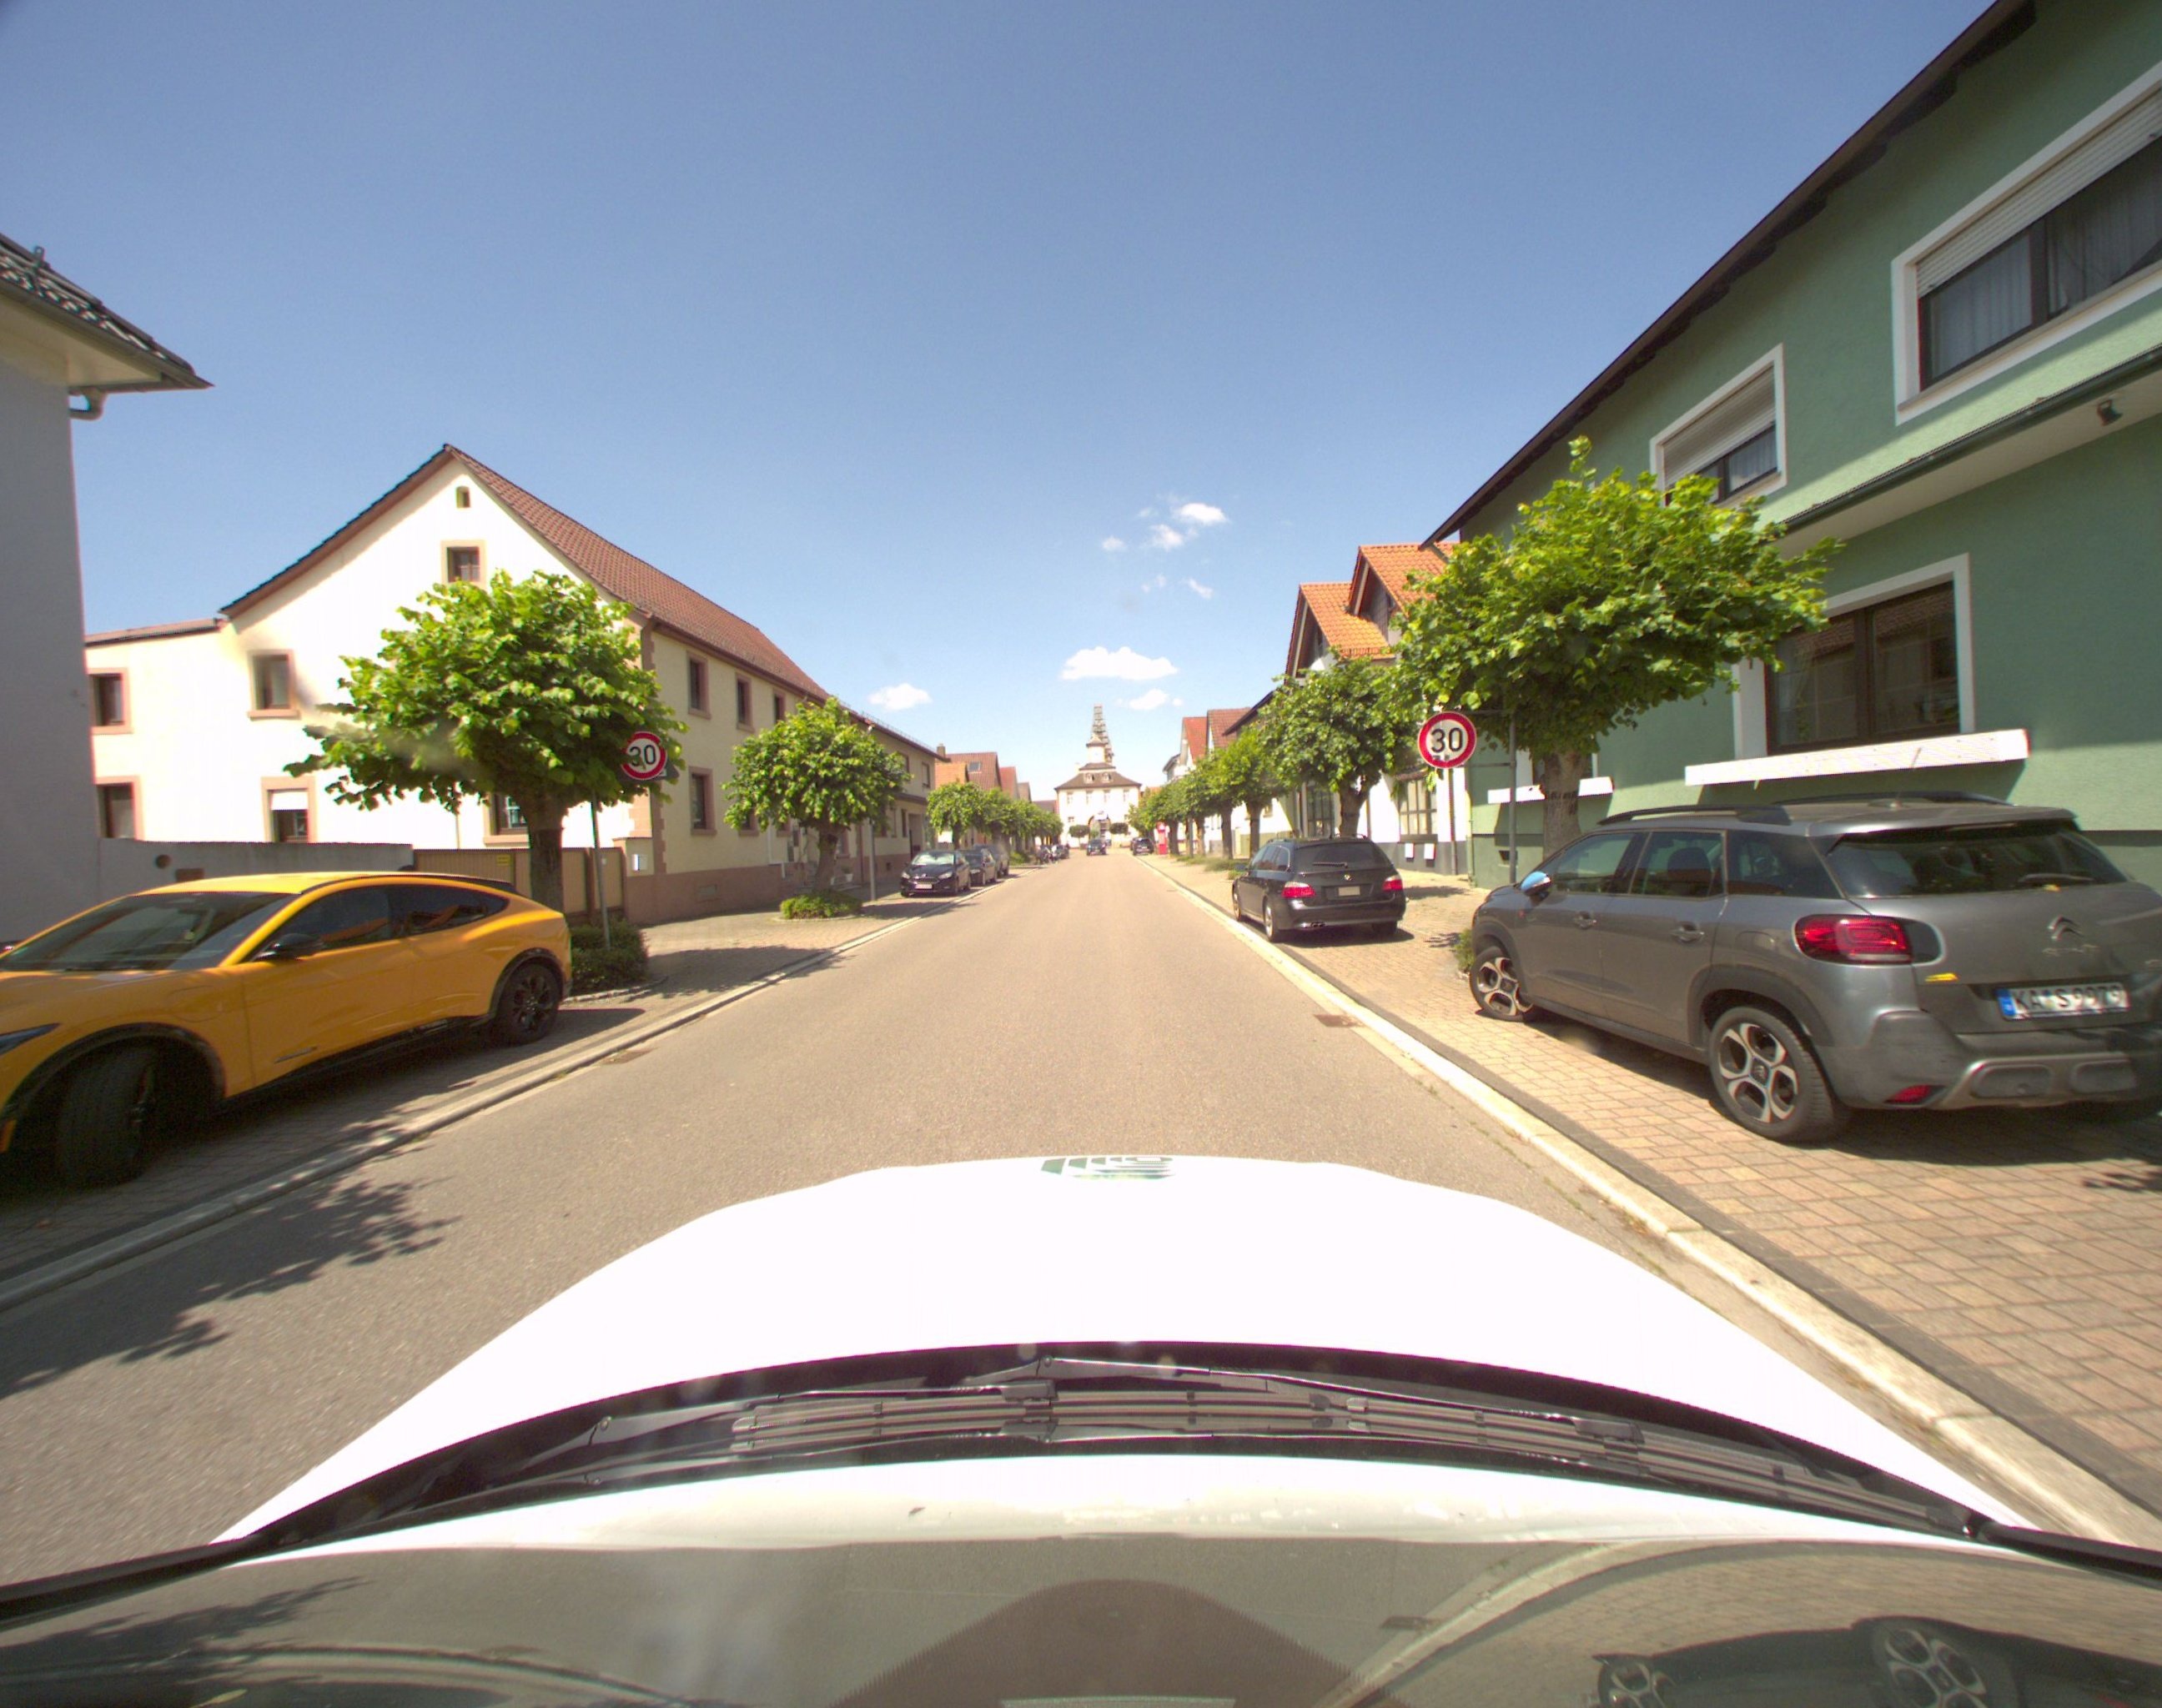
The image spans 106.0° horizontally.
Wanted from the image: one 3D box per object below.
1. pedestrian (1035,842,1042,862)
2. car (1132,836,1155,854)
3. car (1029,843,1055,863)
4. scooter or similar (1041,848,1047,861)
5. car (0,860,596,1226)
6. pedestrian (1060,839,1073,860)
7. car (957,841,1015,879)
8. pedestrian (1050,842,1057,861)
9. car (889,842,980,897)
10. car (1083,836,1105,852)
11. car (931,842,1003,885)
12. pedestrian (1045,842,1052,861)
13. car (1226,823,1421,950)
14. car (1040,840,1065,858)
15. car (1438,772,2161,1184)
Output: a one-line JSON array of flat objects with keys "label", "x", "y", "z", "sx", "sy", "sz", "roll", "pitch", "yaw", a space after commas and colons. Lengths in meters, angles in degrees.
[{"label": "pedestrian", "x": -3.102, "y": -0.152, "z": 59.686, "sx": 0.354, "sy": 1.403, "sz": 0.322, "roll": -2, "pitch": 1, "yaw": 39}, {"label": "car", "x": 5.758, "y": -0.838, "z": 75.585, "sx": 1.830, "sy": 1.555, "sz": 4.317, "roll": -4, "pitch": 1, "yaw": 2}, {"label": "car", "x": -3.334, "y": -0.113, "z": 70.116, "sx": 1.750, "sy": 1.555, "sz": 4.023, "roll": -3, "pitch": 1, "yaw": 2}, {"label": "scooter or similar", "x": -2.785, "y": 0.037, "z": 60.738, "sx": 0.326, "sy": 1.003, "sz": 0.243, "roll": -2, "pitch": 1, "yaw": 39}, {"label": "car", "x": -5.962, "y": 0.917, "z": 5.811, "sx": 1.985, "sy": 1.611, "sz": 4.693, "roll": -1, "pitch": 1, "yaw": 3}, {"label": "pedestrian", "x": -1.400, "y": -0.461, "z": 78.576, "sx": 0.876, "sy": 2.013, "sz": 0.840, "roll": -1, "pitch": 0, "yaw": 29}, {"label": "car", "x": -4.585, "y": 0.242, "z": 39.937, "sx": 1.985, "sy": 1.611, "sz": 4.693, "roll": -3, "pitch": 1, "yaw": 3}, {"label": "pedestrian", "x": -2.061, "y": -0.173, "z": 61.204, "sx": 0.354, "sy": 1.403, "sz": 0.322, "roll": -2, "pitch": 1, "yaw": 39}, {"label": "car", "x": -4.805, "y": 0.452, "z": 27.478, "sx": 1.985, "sy": 1.611, "sz": 4.693, "roll": -1, "pitch": 2, "yaw": 3}, {"label": "car", "x": 1.330, "y": -1.032, "z": 83.877, "sx": 1.989, "sy": 1.611, "sz": 4.502, "roll": -1, "pitch": 0, "yaw": -2}, {"label": "car", "x": -4.525, "y": 0.352, "z": 33.022, "sx": 1.985, "sy": 1.611, "sz": 4.692, "roll": -1, "pitch": 0, "yaw": 3}, {"label": "pedestrian", "x": -2.435, "y": -0.166, "z": 60.860, "sx": 0.354, "sy": 1.403, "sz": 0.322, "roll": -2, "pitch": 1, "yaw": 39}, {"label": "car", "x": 3.590, "y": 0.396, "z": 12.928, "sx": 1.831, "sy": 1.555, "sz": 4.315, "roll": -4, "pitch": 1, "yaw": 1}, {"label": "car", "x": -2.645, "y": -0.469, "z": 75.844, "sx": 1.985, "sy": 1.611, "sz": 3.858, "roll": -1, "pitch": 0, "yaw": 3}, {"label": "car", "x": 4.101, "y": 0.450, "z": 5.260, "sx": 1.831, "sy": 1.607, "sz": 4.000, "roll": -2, "pitch": 1, "yaw": 0}]
